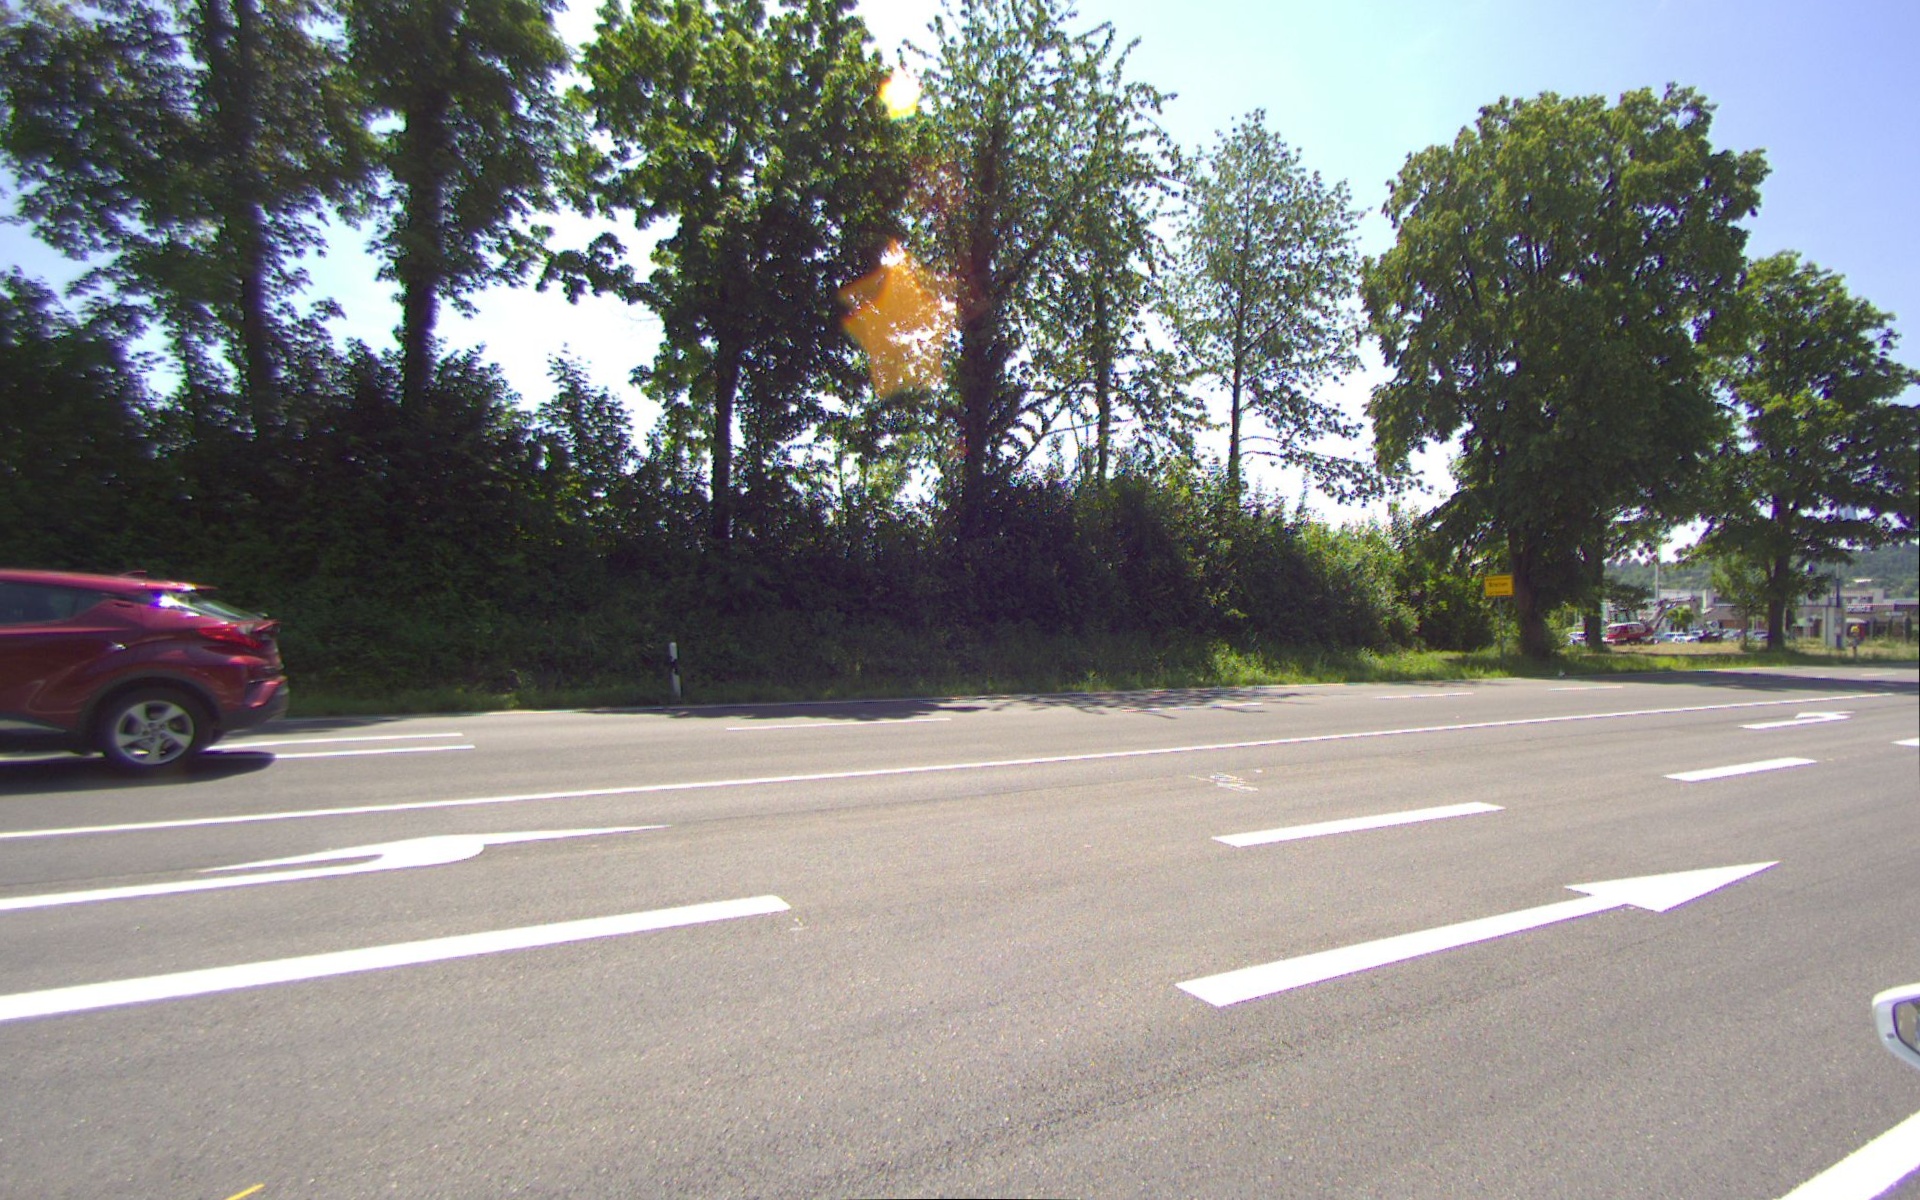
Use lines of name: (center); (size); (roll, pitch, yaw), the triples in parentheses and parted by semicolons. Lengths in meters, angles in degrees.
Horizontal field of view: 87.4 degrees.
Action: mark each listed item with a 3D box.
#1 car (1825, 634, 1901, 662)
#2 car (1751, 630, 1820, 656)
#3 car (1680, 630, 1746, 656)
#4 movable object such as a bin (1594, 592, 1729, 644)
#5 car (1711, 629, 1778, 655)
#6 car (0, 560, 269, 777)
car: (60.386, 3.184, 67.258); (1.803, 1.639, 4.002); (1, 0, 7)
car: (57.262, 2.966, 69.785); (1.803, 1.639, 4.002); (1, 0, 7)
car: (52.565, 2.976, 70.200); (1.959, 1.673, 4.002); (1, 0, 7)
movable object such as a bin: (46.248, 1.175, 66.423); (6.654, 3.342, 3.055); (0, -1, 10)
car: (54.654, 2.931, 70.057); (1.803, 1.639, 4.002); (1, 0, 7)
car: (-7.593, 0.498, 7.665); (3.724, 1.528, 1.892); (2, -2, -33)
